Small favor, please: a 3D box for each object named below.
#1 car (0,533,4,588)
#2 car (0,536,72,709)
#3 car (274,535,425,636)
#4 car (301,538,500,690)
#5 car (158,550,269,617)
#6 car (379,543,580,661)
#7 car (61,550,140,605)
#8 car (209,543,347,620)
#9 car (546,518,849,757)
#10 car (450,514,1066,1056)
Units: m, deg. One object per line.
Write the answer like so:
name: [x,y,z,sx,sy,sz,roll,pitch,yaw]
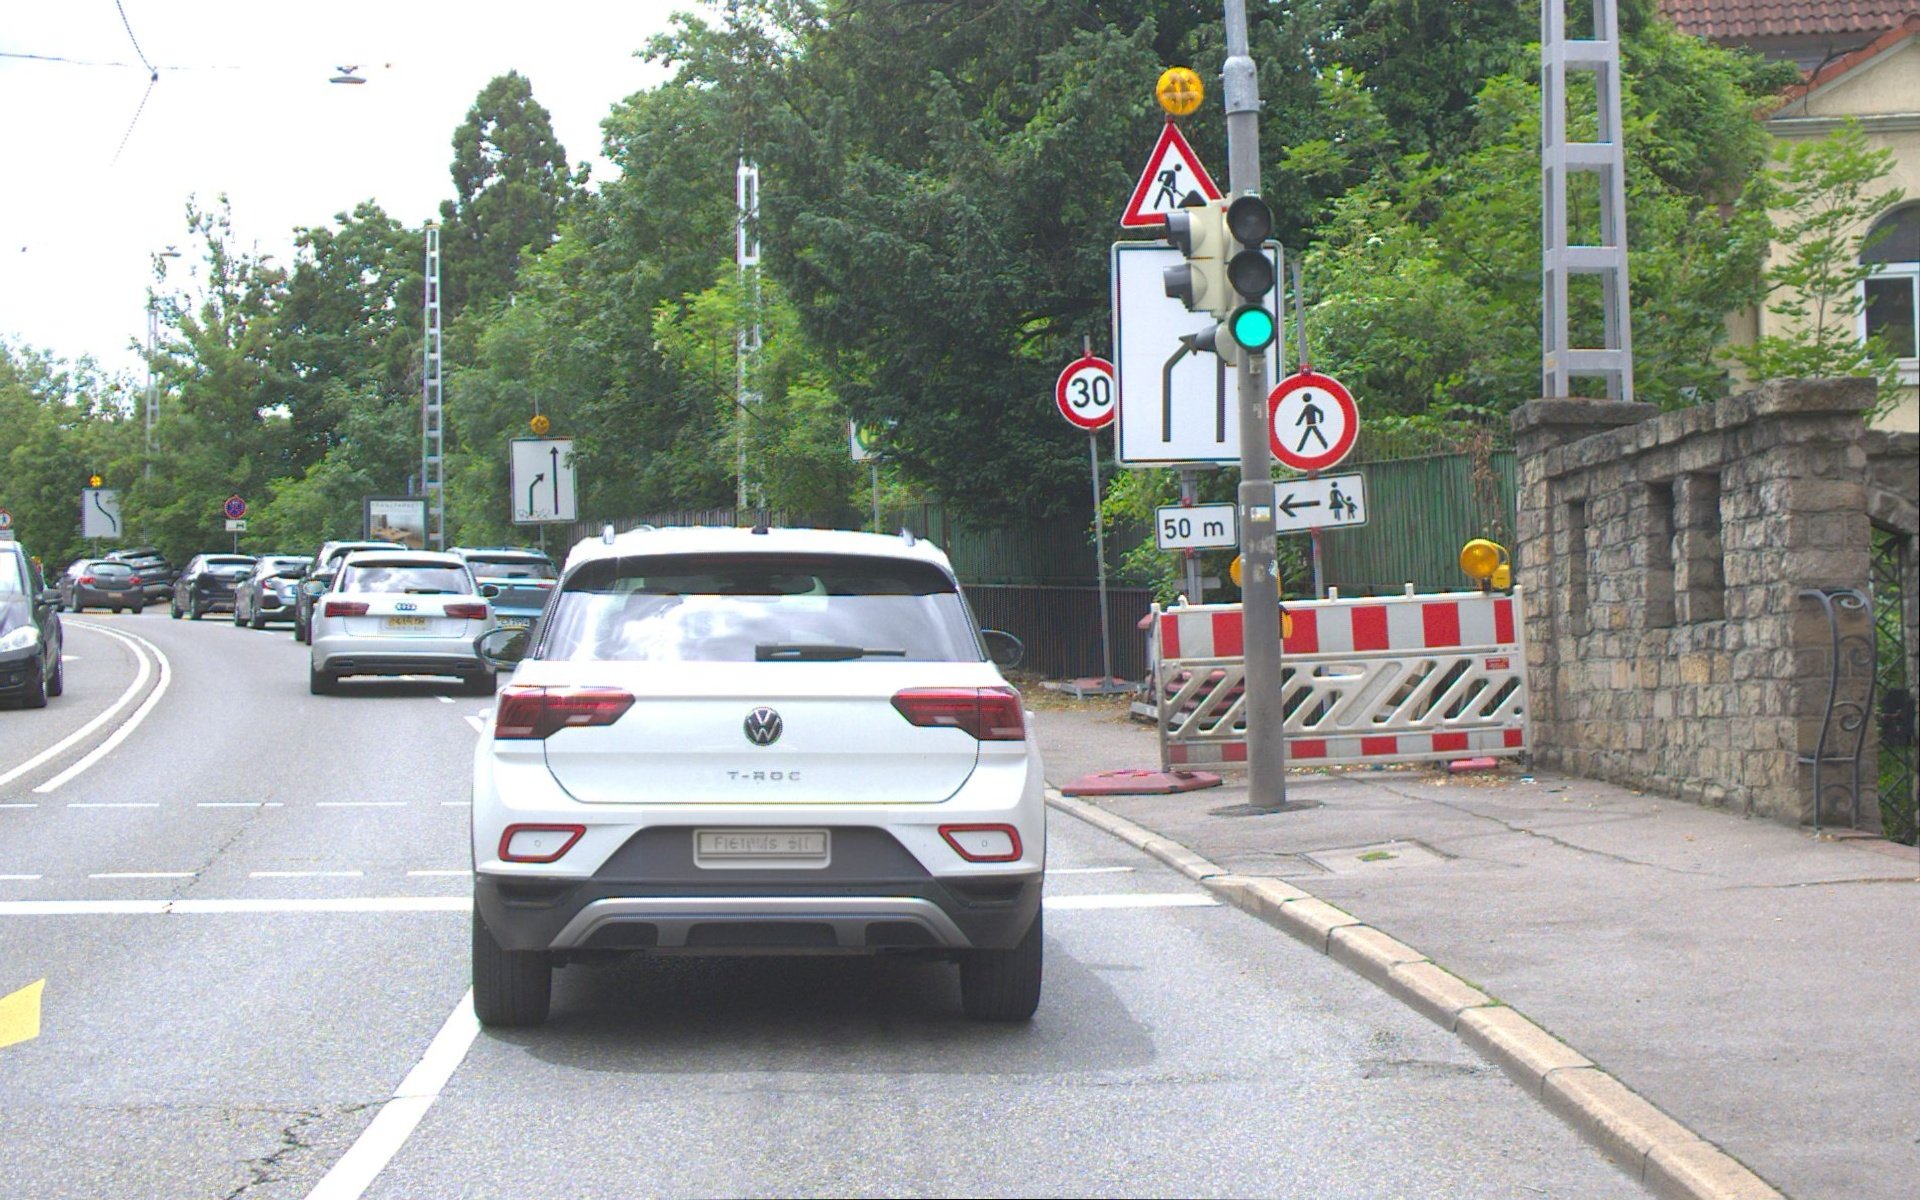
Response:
car: [-31.656,-1.239,108.056,1.841,1.693,3.999,-1,1,-35]
car: [-9.605,0.203,33.008,1.754,1.561,3.680,-2,1,-10]
car: [-9.859,-0.258,55.315,1.993,1.551,4.152,0,1,-16]
car: [-5.808,0.128,35.393,1.757,1.466,3.796,1,0,-13]
car: [-16.687,-0.369,76.729,1.993,1.445,4.152,-1,0,-18]
car: [-6.223,0.026,44.122,1.993,1.409,4.152,-1,0,-16]
car: [-22.954,-0.601,91.768,1.780,1.449,4.001,0,0,-18]
car: [-13.240,-0.352,66.559,1.993,1.445,4.151,-1,0,-20]
car: [-2.000,0.248,25.227,1.757,1.604,3.796,1,0,-11]
car: [-0.745,0.533,11.830,1.757,1.550,3.796,1,0,-5]
